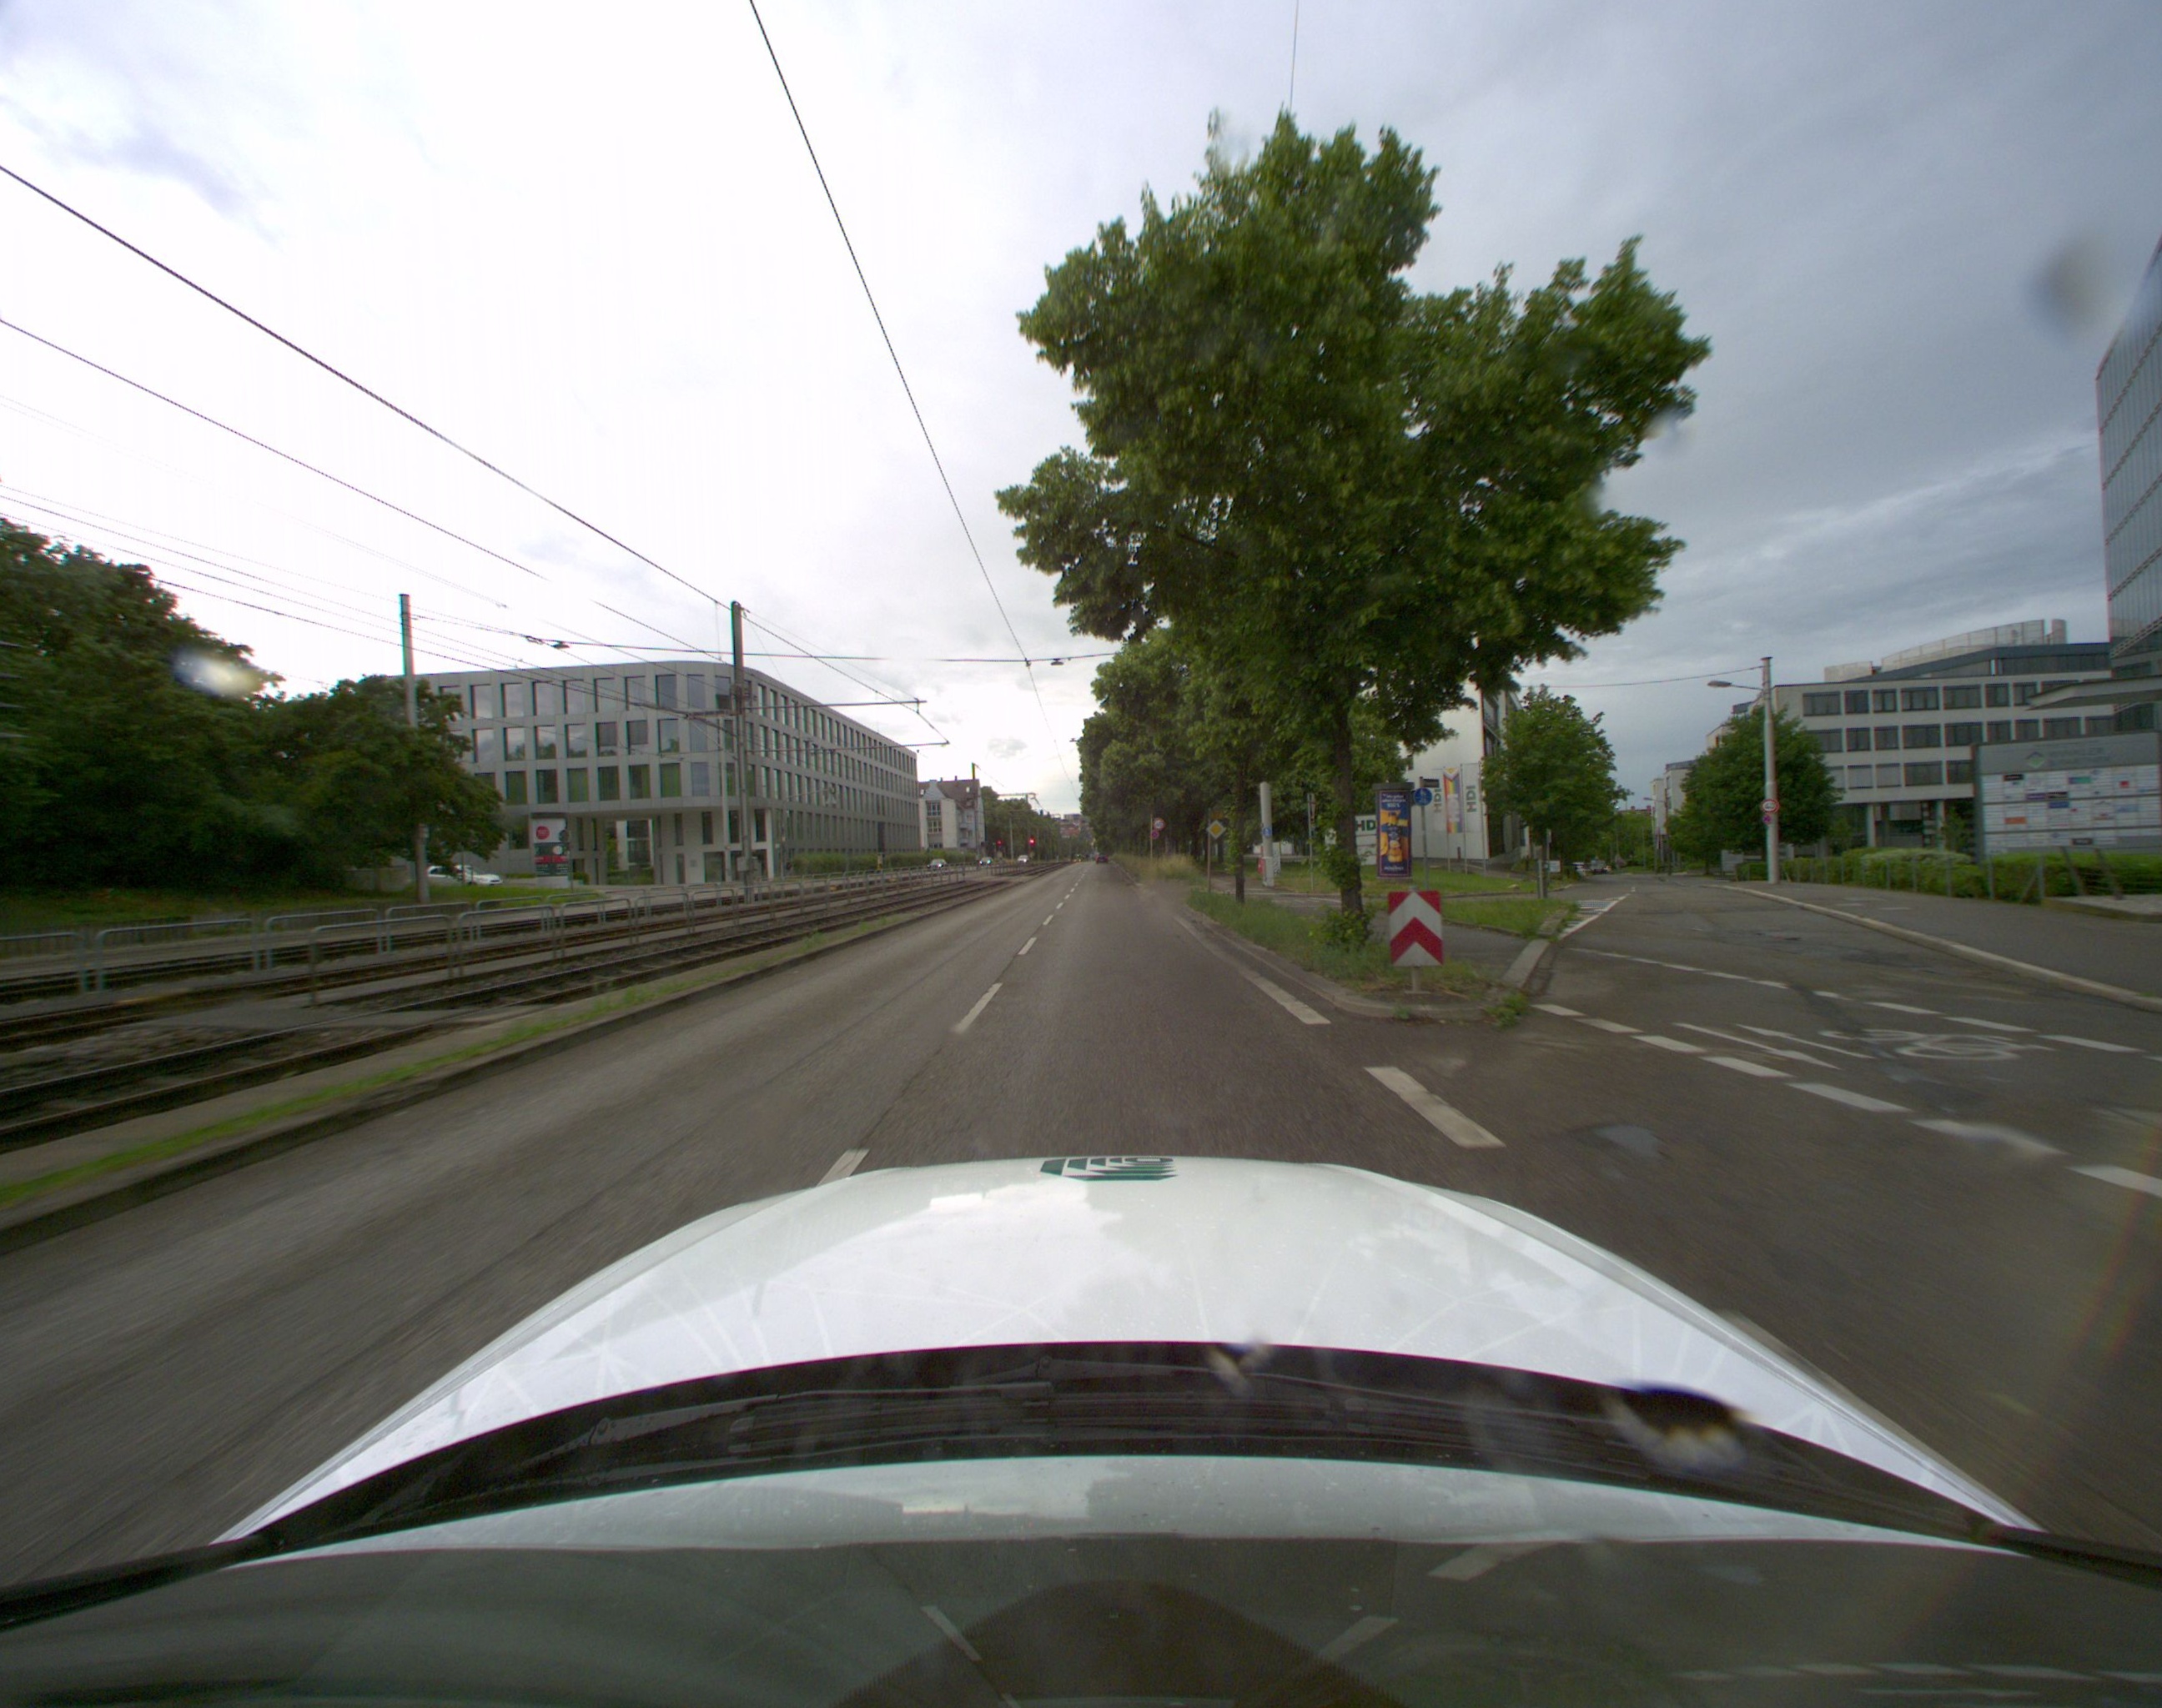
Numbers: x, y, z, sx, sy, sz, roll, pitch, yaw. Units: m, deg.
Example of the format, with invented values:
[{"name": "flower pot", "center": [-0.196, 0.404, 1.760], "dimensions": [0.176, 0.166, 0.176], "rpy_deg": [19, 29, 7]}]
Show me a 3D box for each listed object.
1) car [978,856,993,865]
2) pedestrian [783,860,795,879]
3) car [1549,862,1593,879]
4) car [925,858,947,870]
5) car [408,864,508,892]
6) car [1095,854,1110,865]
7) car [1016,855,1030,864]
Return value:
[{"name": "car", "center": [-15.396, 1.095, 131.785], "dimensions": [1.791, 1.347, 4.261], "rpy_deg": [-3, 0, 2]}, {"name": "pedestrian", "center": [-25.098, 1.328, 70.016], "dimensions": [0.721, 1.648, 0.846], "rpy_deg": [-1, -1, 2]}, {"name": "car", "center": [54.389, 1.856, 90.398], "dimensions": [3.951, 1.717, 2.012], "rpy_deg": [-2, 0, 25]}, {"name": "car", "center": [-17.348, 1.195, 97.525], "dimensions": [1.750, 1.244, 3.989], "rpy_deg": [-3, 0, 2]}, {"name": "car", "center": [-34.067, 1.320, 44.592], "dimensions": [3.908, 1.453, 1.925], "rpy_deg": [0, 0, -1]}, {"name": "car", "center": [2.975, 0.743, 113.983], "dimensions": [1.975, 1.440, 4.475], "rpy_deg": [-3, 0, 2]}, {"name": "car", "center": [-10.971, 0.990, 153.684], "dimensions": [1.895, 1.645, 4.888], "rpy_deg": [-3, 0, 3]}]
